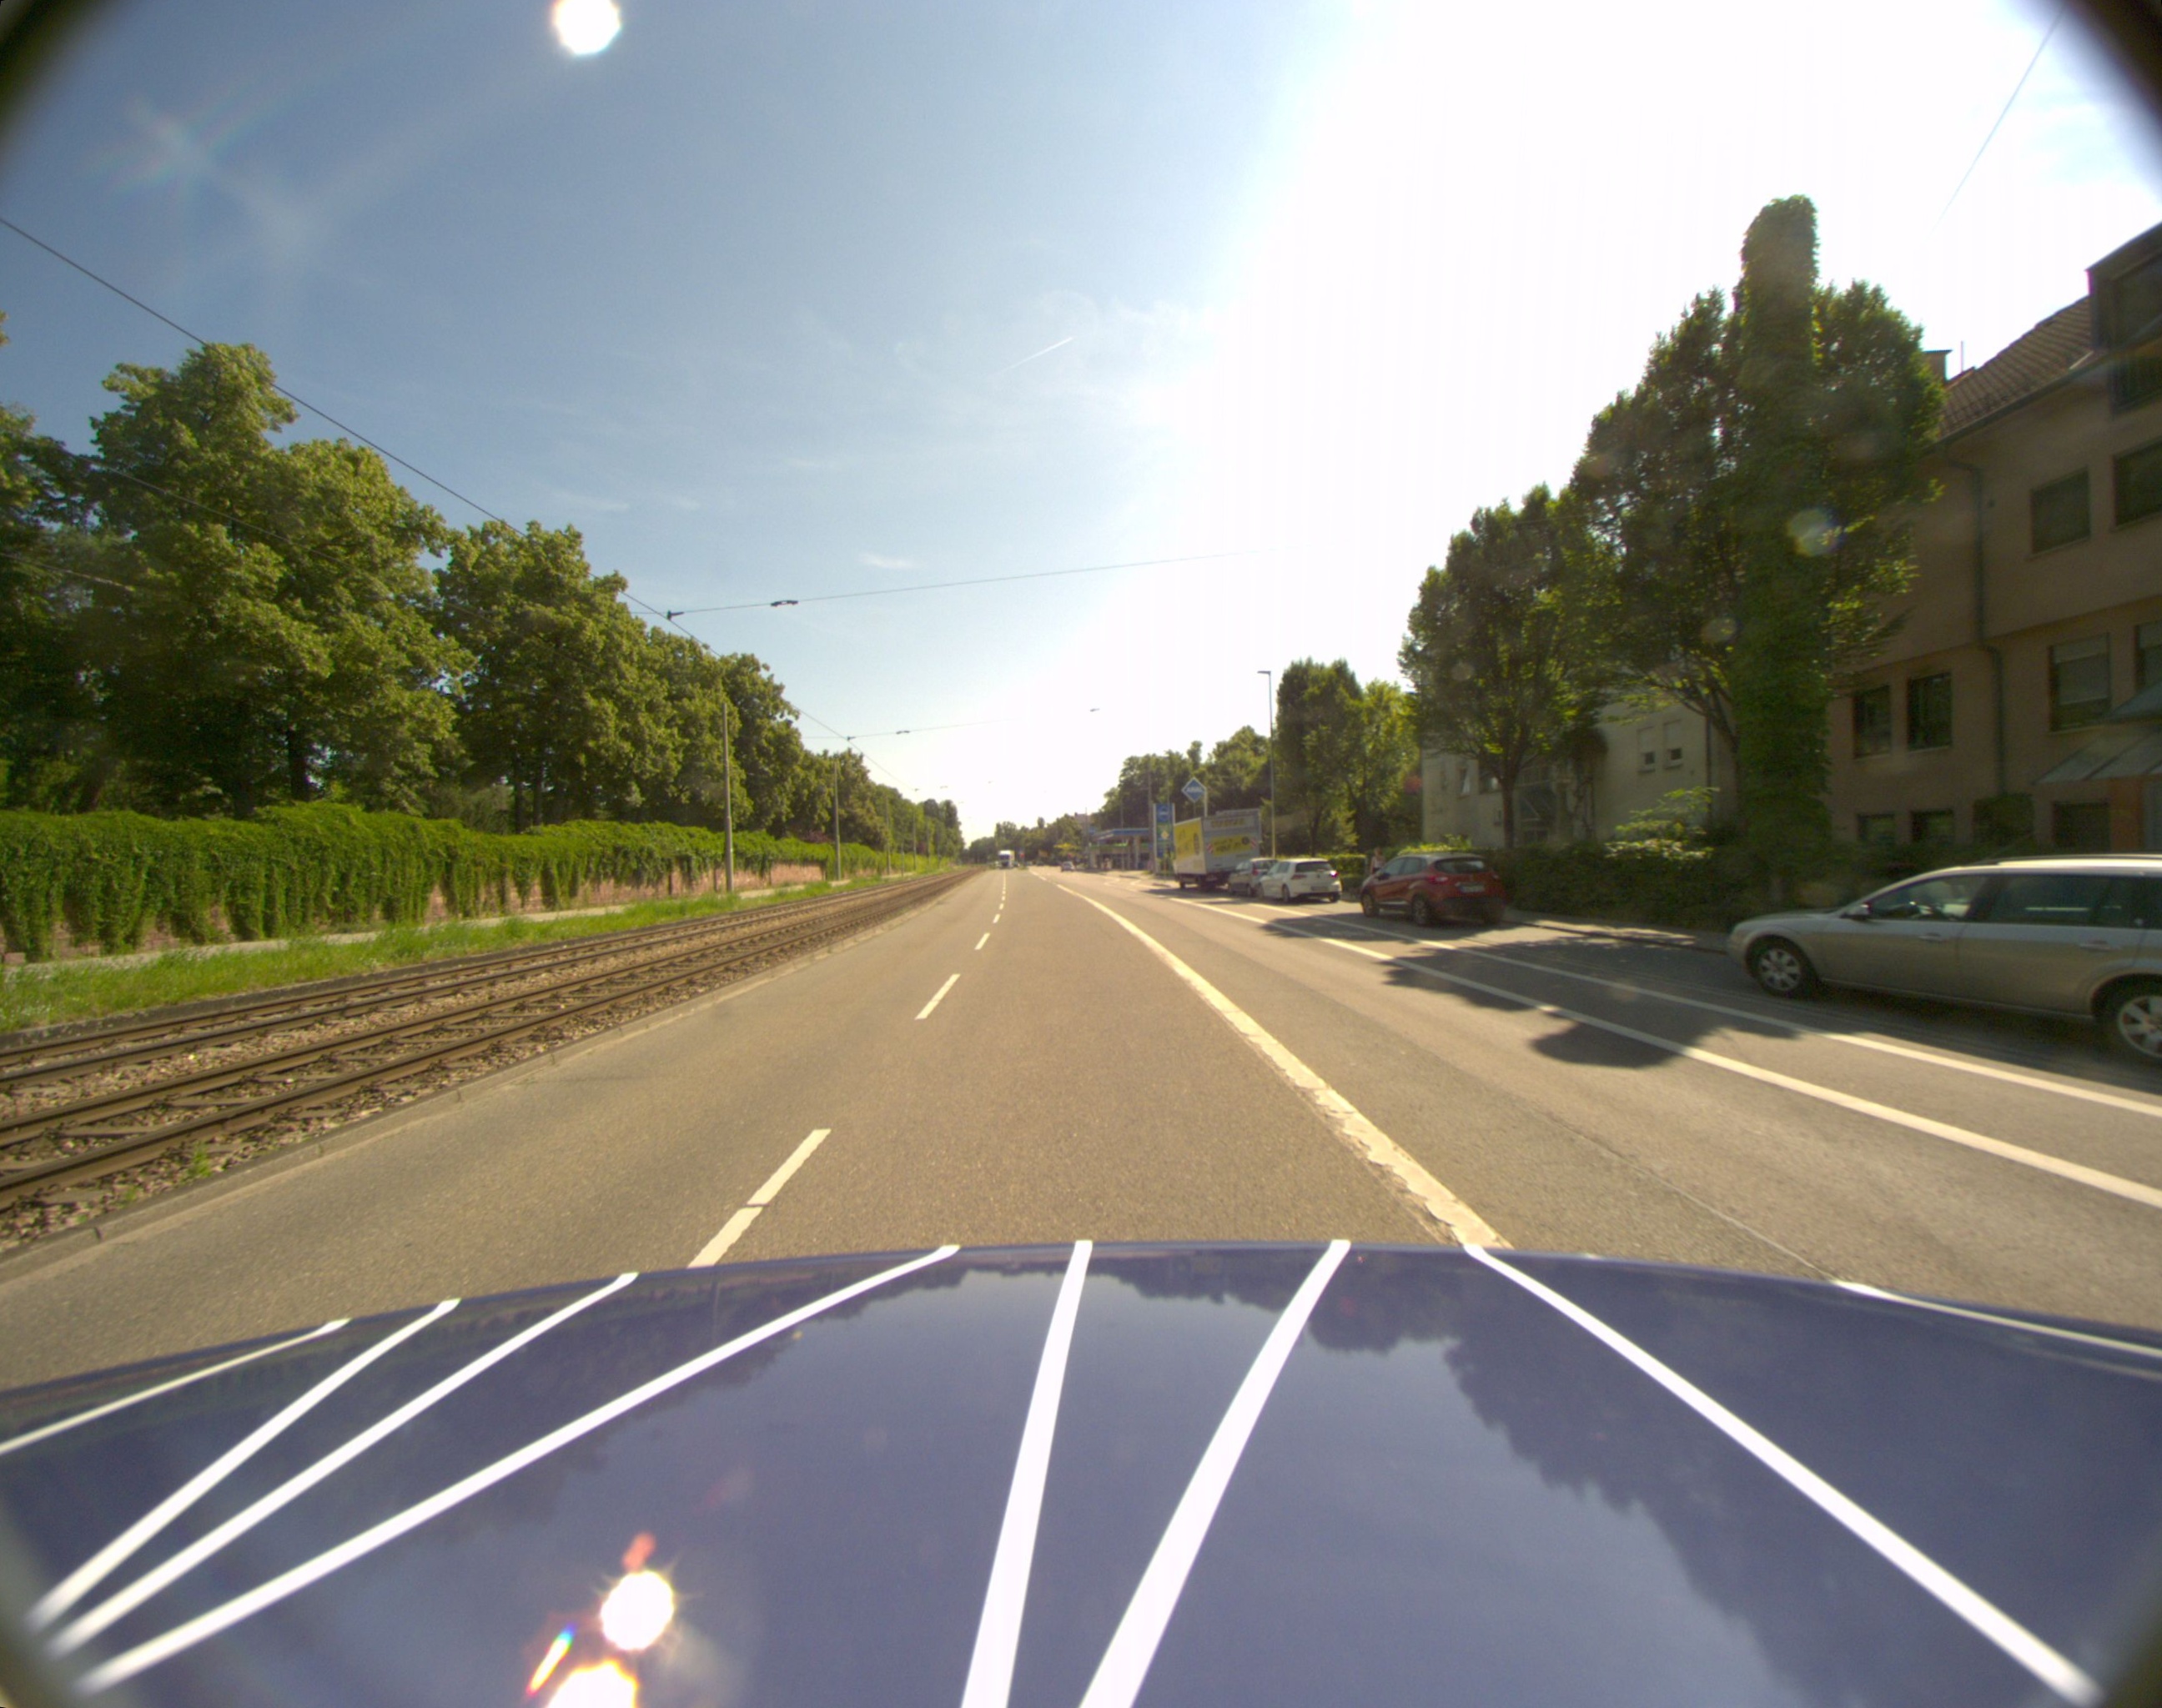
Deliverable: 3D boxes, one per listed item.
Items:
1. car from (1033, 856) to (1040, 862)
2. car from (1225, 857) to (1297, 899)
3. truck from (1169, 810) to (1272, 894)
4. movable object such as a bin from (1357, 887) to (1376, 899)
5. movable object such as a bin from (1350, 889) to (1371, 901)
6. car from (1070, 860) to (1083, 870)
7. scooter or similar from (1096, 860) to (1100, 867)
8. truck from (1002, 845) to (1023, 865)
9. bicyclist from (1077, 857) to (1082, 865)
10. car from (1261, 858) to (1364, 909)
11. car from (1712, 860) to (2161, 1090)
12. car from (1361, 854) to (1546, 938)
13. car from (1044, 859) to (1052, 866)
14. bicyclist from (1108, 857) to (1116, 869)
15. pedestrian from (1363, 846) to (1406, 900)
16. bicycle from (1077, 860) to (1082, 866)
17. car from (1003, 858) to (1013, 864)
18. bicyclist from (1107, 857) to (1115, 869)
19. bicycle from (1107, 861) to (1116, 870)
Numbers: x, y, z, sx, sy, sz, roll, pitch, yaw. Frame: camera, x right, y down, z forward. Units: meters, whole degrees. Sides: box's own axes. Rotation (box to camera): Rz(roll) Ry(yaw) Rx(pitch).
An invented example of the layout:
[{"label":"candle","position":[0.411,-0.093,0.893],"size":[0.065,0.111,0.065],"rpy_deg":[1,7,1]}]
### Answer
[{"label":"car","position":[-15.072,1.697,257.706],"size":[1.827,1.661,3.998],"rpy_deg":[-2,-2,-10]},{"label":"car","position":[7.118,0.909,30.464],"size":[1.614,1.475,3.634],"rpy_deg":[-3,0,-6]},{"label":"truck","position":[6.573,-0.051,37.277],"size":[2.674,3.509,8.587],"rpy_deg":[-3,0,-4]},{"label":"movable object such as a bin","position":[9.650,1.320,25.696],"size":[0.327,0.337,0.755],"rpy_deg":[-1,0,-4]},{"label":"movable object such as a bin","position":[9.014,1.313,24.502],"size":[0.327,0.352,0.755],"rpy_deg":[-1,0,-4]},{"label":"car","position":[-0.683,1.575,109.554],"size":[1.663,1.412,4.309],"rpy_deg":[-1,0,-2]},{"label":"scooter or similar","position":[2.960,1.635,132.336],"size":[0.442,1.230,1.346],"rpy_deg":[-1,0,5]},{"label":"truck","position":[-14.898,0.237,166.512],"size":[2.852,3.983,14.306],"rpy_deg":[-1,0,1]},{"label":"bicyclist","position":[-0.311,1.481,165.947],"size":[0.837,1.664,0.827],"rpy_deg":[-2,-1,-6]},{"label":"car","position":[7.468,0.901,24.990],"size":[1.762,1.420,4.280],"rpy_deg":[-3,0,-4]},{"label":"car","position":[8.349,0.864,6.402],"size":[1.785,1.475,4.855],"rpy_deg":[-3,0,-3]},{"label":"car","position":[8.033,0.821,16.922],"size":[1.736,1.542,4.317],"rpy_deg":[-3,0,-4]},{"label":"car","position":[-9.152,2.350,209.727],"size":[1.827,1.661,3.998],"rpy_deg":[-2,-2,-10]},{"label":"bicyclist","position":[3.808,1.068,94.109],"size":[0.849,1.427,0.832],"rpy_deg":[-1,0,-1]},{"label":"pedestrian","position":[9.830,0.609,24.629],"size":[0.877,1.681,1.055],"rpy_deg":[-1,0,-4]},{"label":"bicycle","position":[-0.300,1.974,166.098],"size":[0.940,1.168,2.210],"rpy_deg":[-1,0,-4]},{"label":"car","position":[-18.279,1.758,190.166],"size":[1.932,1.593,4.464],"rpy_deg":[-2,0,-12]},{"label":"bicyclist","position":[3.786,1.091,94.904],"size":[0.849,1.427,0.832],"rpy_deg":[-2,-1,-2]},{"label":"bicycle","position":[3.804,1.428,94.226],"size":[0.827,1.088,2.772],"rpy_deg":[-2,0,-2]}]
